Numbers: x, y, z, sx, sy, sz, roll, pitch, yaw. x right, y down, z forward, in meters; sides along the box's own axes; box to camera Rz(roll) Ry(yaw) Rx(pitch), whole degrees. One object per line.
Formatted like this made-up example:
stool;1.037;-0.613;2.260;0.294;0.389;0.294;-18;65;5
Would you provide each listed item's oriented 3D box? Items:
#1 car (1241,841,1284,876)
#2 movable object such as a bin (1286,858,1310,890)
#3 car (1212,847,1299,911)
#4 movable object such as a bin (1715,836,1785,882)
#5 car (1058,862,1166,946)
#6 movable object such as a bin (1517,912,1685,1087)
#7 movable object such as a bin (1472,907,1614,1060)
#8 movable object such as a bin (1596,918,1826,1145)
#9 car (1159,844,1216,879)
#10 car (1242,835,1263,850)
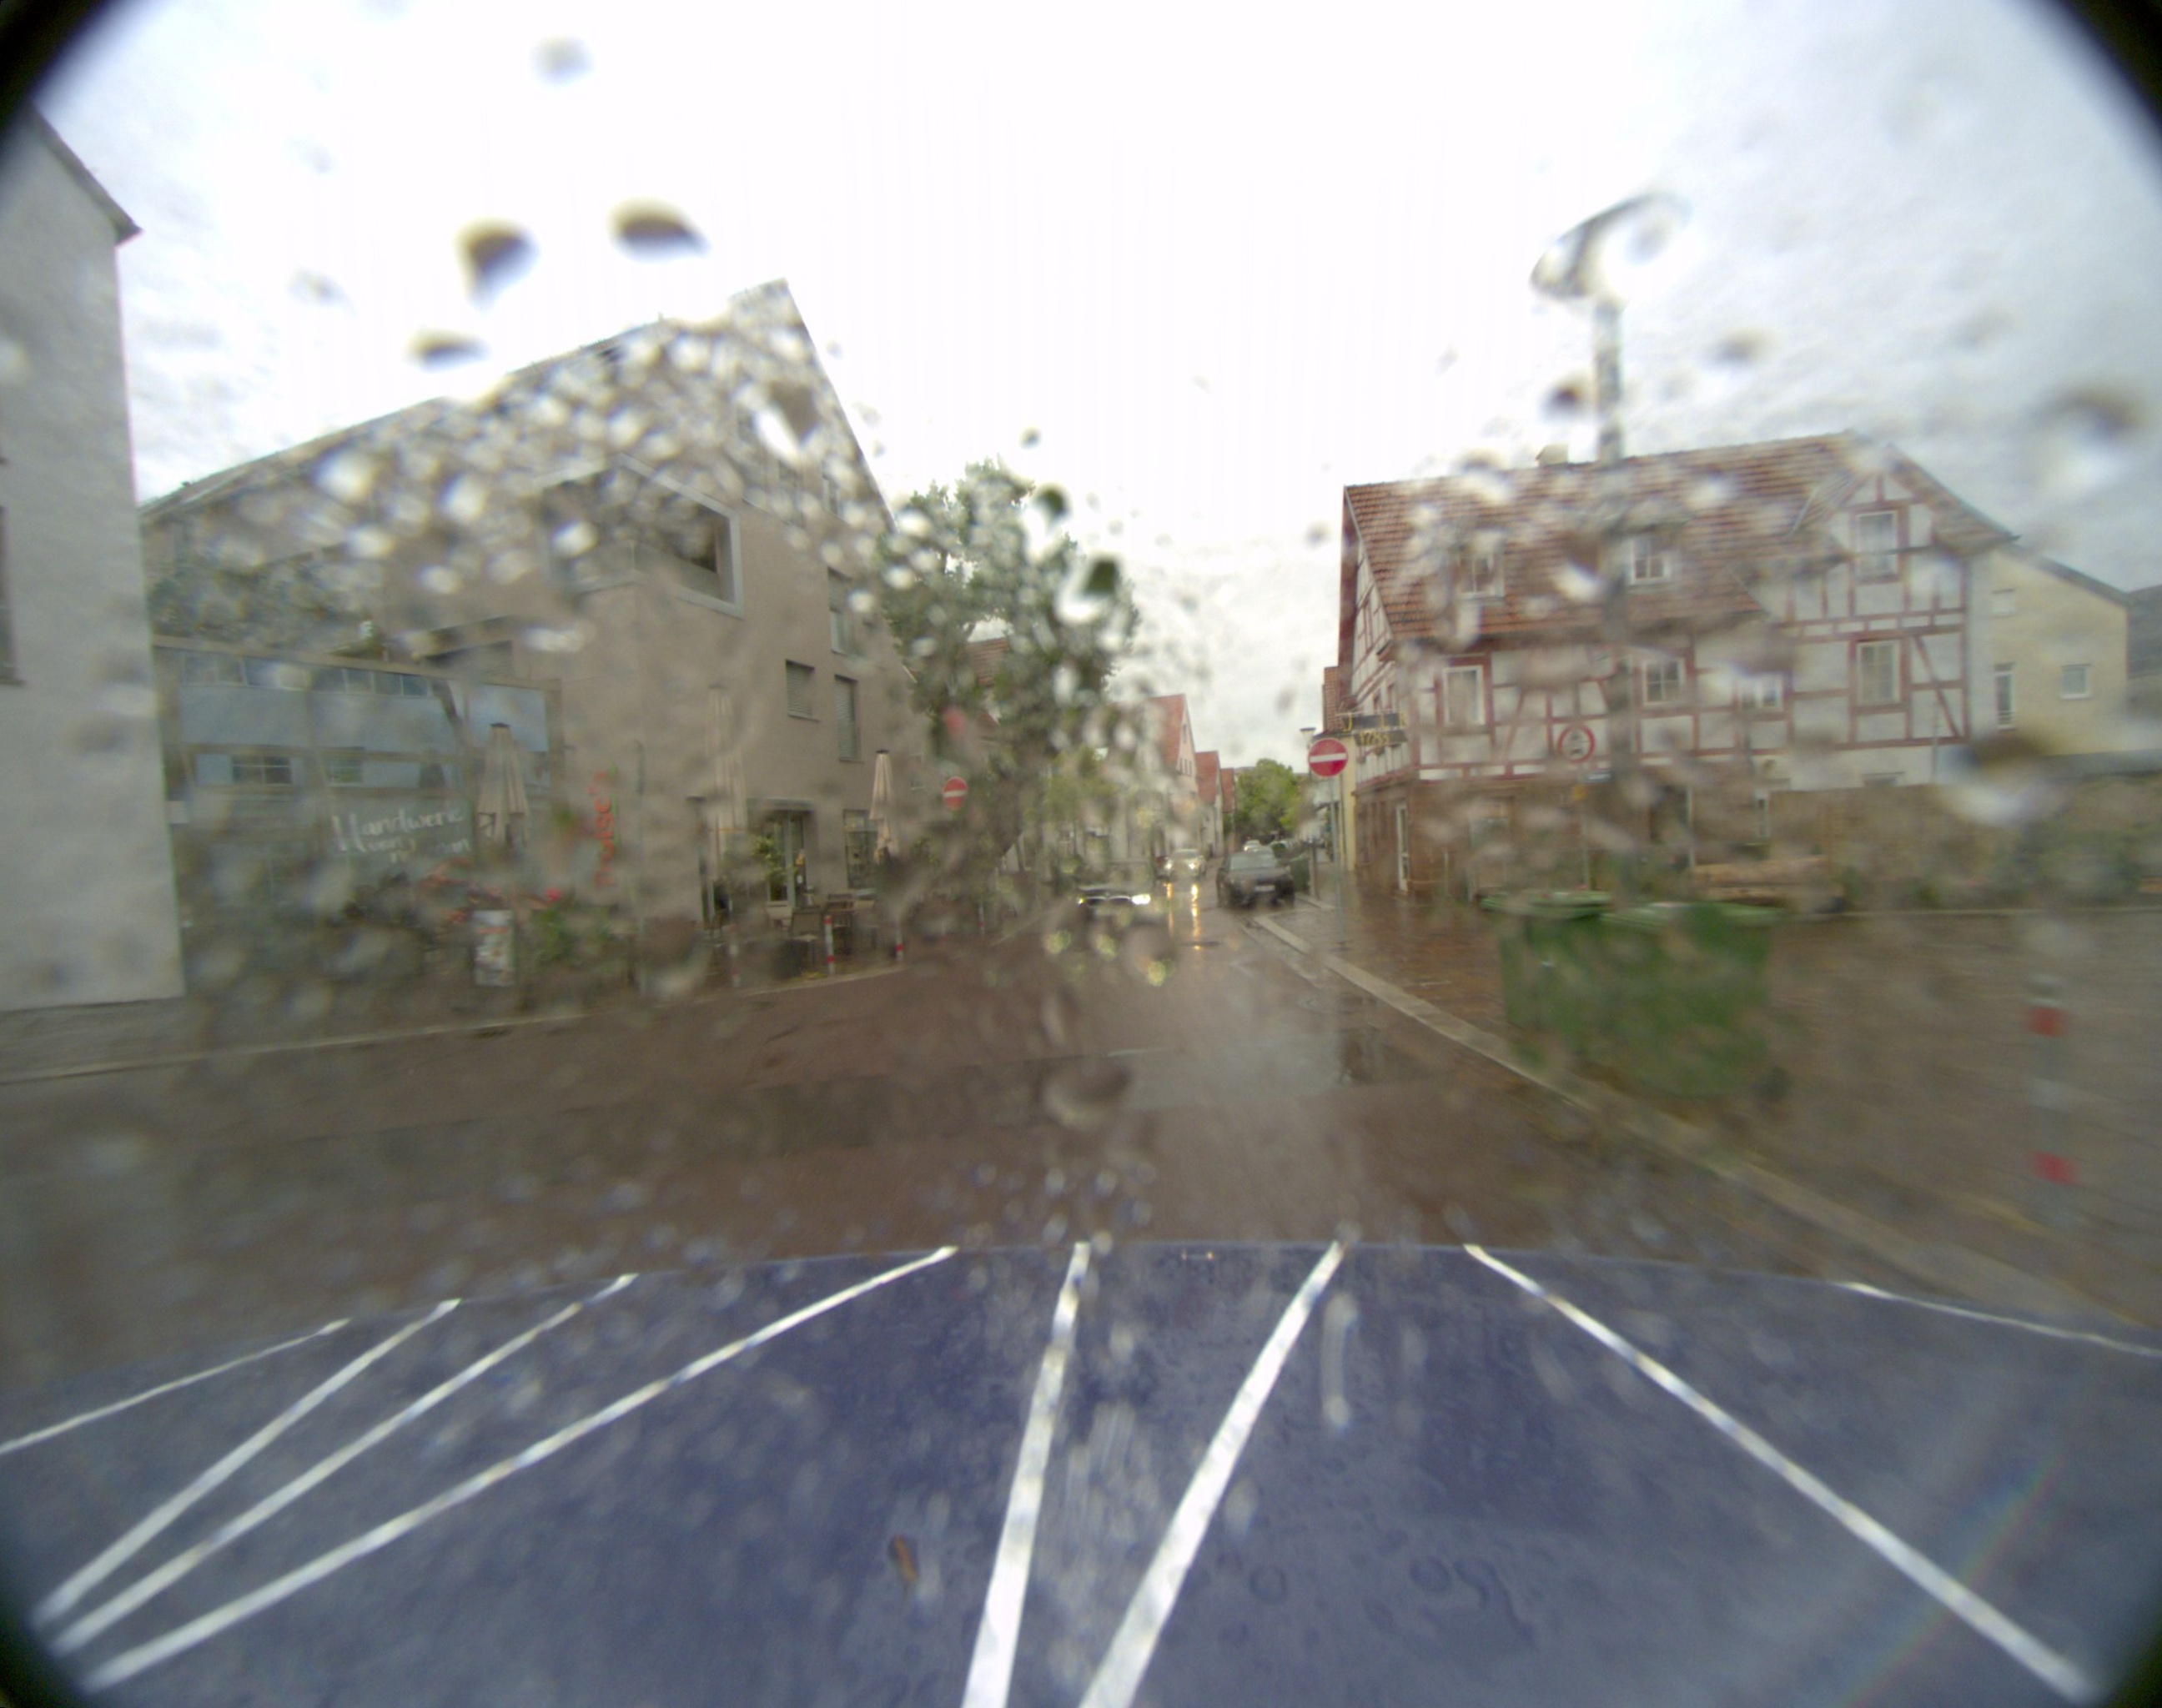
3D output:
car;8.831;0.193;36.805;1.805;1.434;4.003;-4;1;16
movable object such as a bin;7.056;0.650;24.698;0.612;1.016;0.530;-2;1;2
car;4.758;0.618;21.250;1.806;1.434;4.001;-4;1;6
movable object such as a bin;13.113;0.084;14.913;0.709;0.852;0.756;-2;1;2
car;0.507;0.942;16.178;1.879;1.362;4.444;-3;1;-3
movable object such as a bin;3.522;0.961;5.198;0.697;1.045;0.645;-2;1;2
movable object such as a bin;3.537;0.967;5.864;0.697;1.041;0.645;-2;1;2
movable object such as a bin;3.508;0.959;4.290;0.697;1.071;0.645;-5;1;2
car;5.561;0.334;39.107;1.865;1.577;4.620;-2;1;21
car;18.651;-1.282;82.540;1.865;1.452;4.004;-2;1;16
